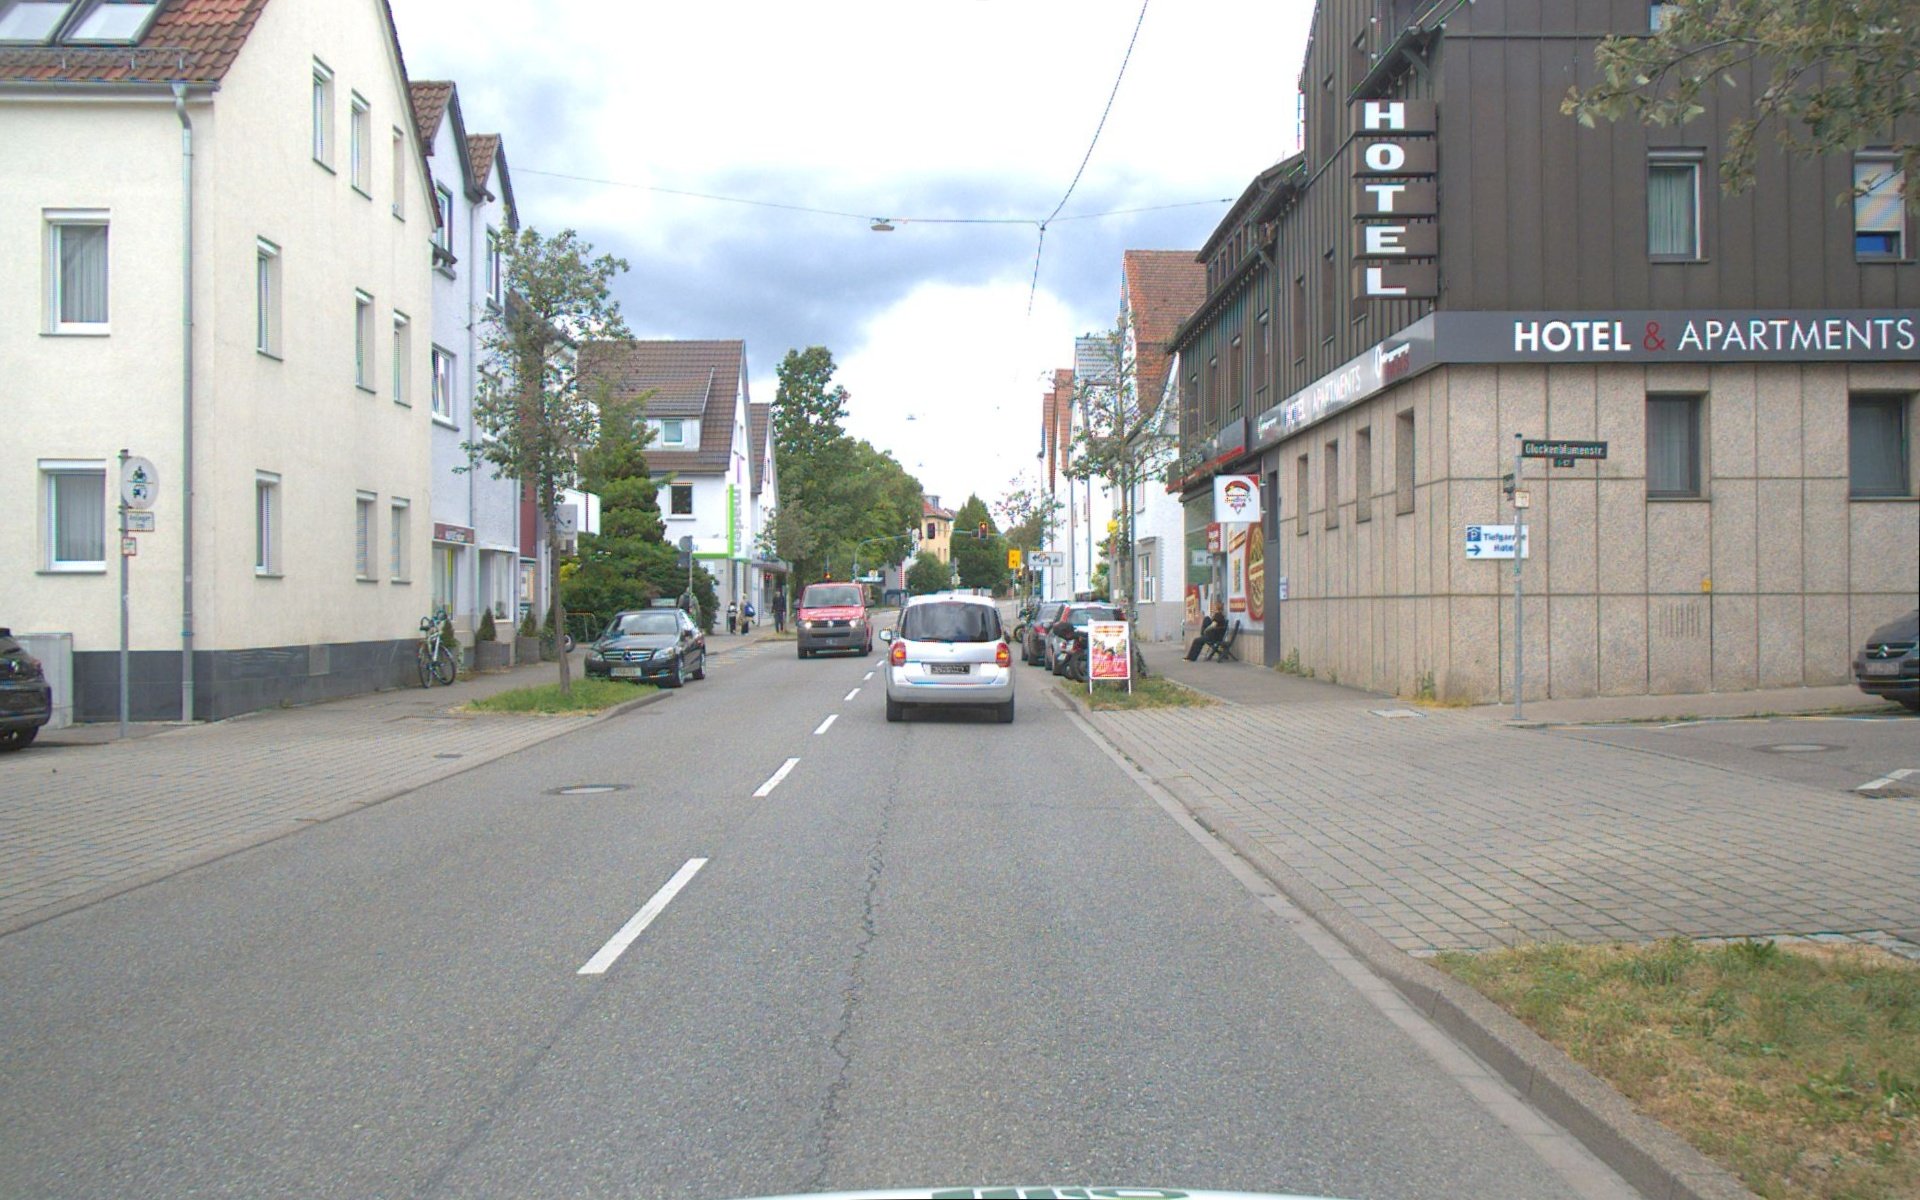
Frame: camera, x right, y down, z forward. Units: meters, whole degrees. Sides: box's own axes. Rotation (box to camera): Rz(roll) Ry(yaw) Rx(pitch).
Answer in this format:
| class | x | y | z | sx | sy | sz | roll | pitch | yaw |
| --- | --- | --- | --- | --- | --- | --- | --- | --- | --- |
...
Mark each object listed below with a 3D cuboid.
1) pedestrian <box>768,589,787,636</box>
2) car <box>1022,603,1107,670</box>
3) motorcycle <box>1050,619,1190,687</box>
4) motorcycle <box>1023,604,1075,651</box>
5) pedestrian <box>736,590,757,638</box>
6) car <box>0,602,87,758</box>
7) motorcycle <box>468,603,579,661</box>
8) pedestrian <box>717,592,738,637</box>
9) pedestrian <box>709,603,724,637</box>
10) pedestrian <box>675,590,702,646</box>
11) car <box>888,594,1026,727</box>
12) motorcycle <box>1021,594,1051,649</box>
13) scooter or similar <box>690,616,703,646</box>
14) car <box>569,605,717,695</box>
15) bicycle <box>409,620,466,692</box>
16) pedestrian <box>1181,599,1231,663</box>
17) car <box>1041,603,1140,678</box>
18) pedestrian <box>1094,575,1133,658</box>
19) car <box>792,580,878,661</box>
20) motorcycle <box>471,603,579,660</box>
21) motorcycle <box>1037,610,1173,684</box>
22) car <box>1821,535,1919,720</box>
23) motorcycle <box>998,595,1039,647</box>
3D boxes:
| class | x | y | z | sx | sy | sz | roll | pitch | yaw |
| --- | --- | --- | --- | --- | --- | --- | --- | --- | --- |
| pedestrian | -7.501 | 0.501 | 68.036 | 0.702 | 1.909 | 0.695 | 1 | -1 | -1 |
| car | 2.425 | 0.827 | 39.400 | 1.666 | 1.493 | 4.237 | 1 | 0 | -1 |
| motorcycle | 2.960 | 0.962 | 30.402 | 2.701 | 1.204 | 0.693 | 1 | -1 | -31 |
| motorcycle | 2.722 | 0.825 | 50.174 | 0.684 | 1.359 | 2.715 | 0 | -1 | 23 |
| pedestrian | -8.468 | 0.561 | 65.664 | 0.746 | 1.909 | 0.695 | 1 | -1 | -1 |
| car | -11.575 | 0.900 | 17.279 | 3.907 | 1.561 | 1.734 | -3 | 0 | -2 |
| motorcycle | -11.152 | 0.813 | 42.301 | 2.658 | 1.434 | 0.698 | 1 | -1 | -10 |
| pedestrian | -9.294 | 0.587 | 66.123 | 0.702 | 1.787 | 0.695 | 1 | -1 | -1 |
| pedestrian | -9.580 | 0.782 | 65.005 | 0.482 | 1.300 | 0.588 | 1 | -1 | -1 |
| pedestrian | -9.074 | 0.603 | 55.335 | 0.747 | 1.823 | 0.889 | 1 | -1 | -1 |
| car | -0.038 | 0.750 | 22.156 | 1.648 | 1.593 | 3.993 | 1 | 0 | 0 |
| motorcycle | 2.386 | 0.676 | 51.760 | 0.683 | 1.667 | 2.411 | 1 | 0 | 9 |
| scooter or similar | -9.625 | 1.131 | 60.450 | 0.366 | 1.053 | 0.559 | -1 | 0 | -1 |
| car | -5.921 | 0.893 | 31.431 | 1.908 | 1.493 | 4.515 | -2 | 0 | 0 |
| bicycle | -8.884 | 0.942 | 28.164 | 0.504 | 1.174 | 1.665 | 1 | 0 | -3 |
| pedestrian | 5.403 | 0.673 | 36.382 | 0.869 | 1.323 | 0.966 | -4 | -1 | -1 |
| car | 2.674 | 0.809 | 34.593 | 1.666 | 1.455 | 3.889 | 1 | 0 | -1 |
| pedestrian | 3.670 | 0.397 | 39.583 | 0.839 | 1.962 | 0.899 | 1 | -1 | -1 |
| car | -3.343 | 0.542 | 45.162 | 1.908 | 1.996 | 5.222 | -2 | 0 | 0 |
| motorcycle | -11.311 | 0.815 | 43.081 | 2.658 | 1.434 | 0.698 | 1 | -1 | -10 |
| motorcycle | 2.777 | 0.888 | 31.445 | 2.680 | 1.359 | 0.693 | 1 | -1 | -31 |
| car | 11.977 | 0.212 | 17.813 | 4.391 | 1.899 | 1.929 | -2 | 0 | -3 |
| motorcycle | 1.915 | 0.686 | 54.503 | 0.686 | 1.667 | 2.400 | 1 | 0 | -14 |
